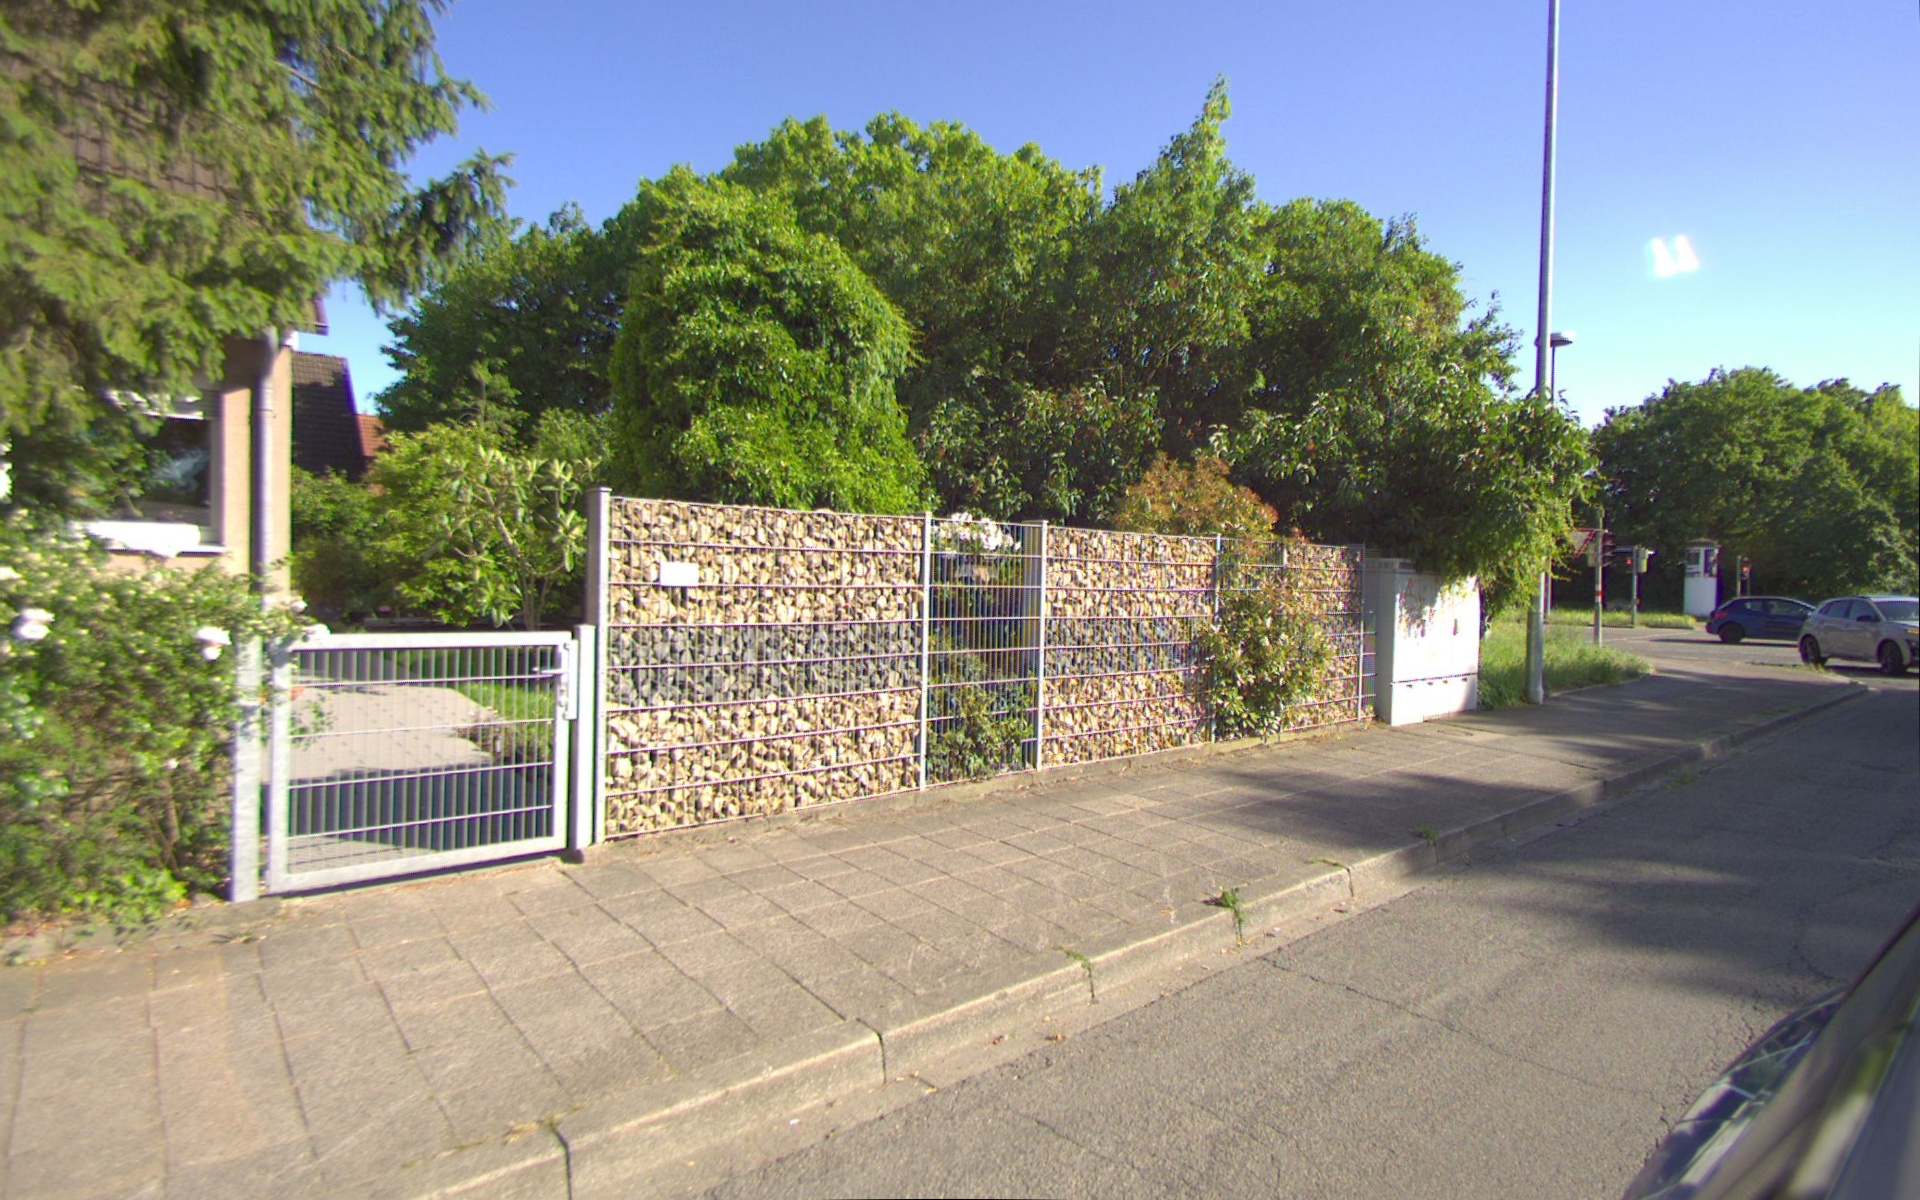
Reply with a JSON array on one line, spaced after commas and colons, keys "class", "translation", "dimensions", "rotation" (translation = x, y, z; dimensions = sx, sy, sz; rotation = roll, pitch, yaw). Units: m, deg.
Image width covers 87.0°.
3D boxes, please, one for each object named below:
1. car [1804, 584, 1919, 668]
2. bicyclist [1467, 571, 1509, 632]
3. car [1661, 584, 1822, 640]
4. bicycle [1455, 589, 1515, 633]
[{"class": "car", "translation": [19.406, 0.495, 20.632], "dimensions": [1.668, 1.592, 4.104], "rotation": [2, 1, 14]}, {"class": "bicyclist", "translation": [15.358, 0.042, 29.438], "dimensions": [0.791, 1.654, 0.544], "rotation": [6, 2, -29]}, {"class": "car", "translation": [24.538, 0.329, 31.940], "dimensions": [3.891, 1.457, 1.671], "rotation": [3, 4, 37]}, {"class": "bicycle", "translation": [15.276, 0.324, 29.430], "dimensions": [1.832, 1.089, 0.532], "rotation": [6, 2, -29]}]
